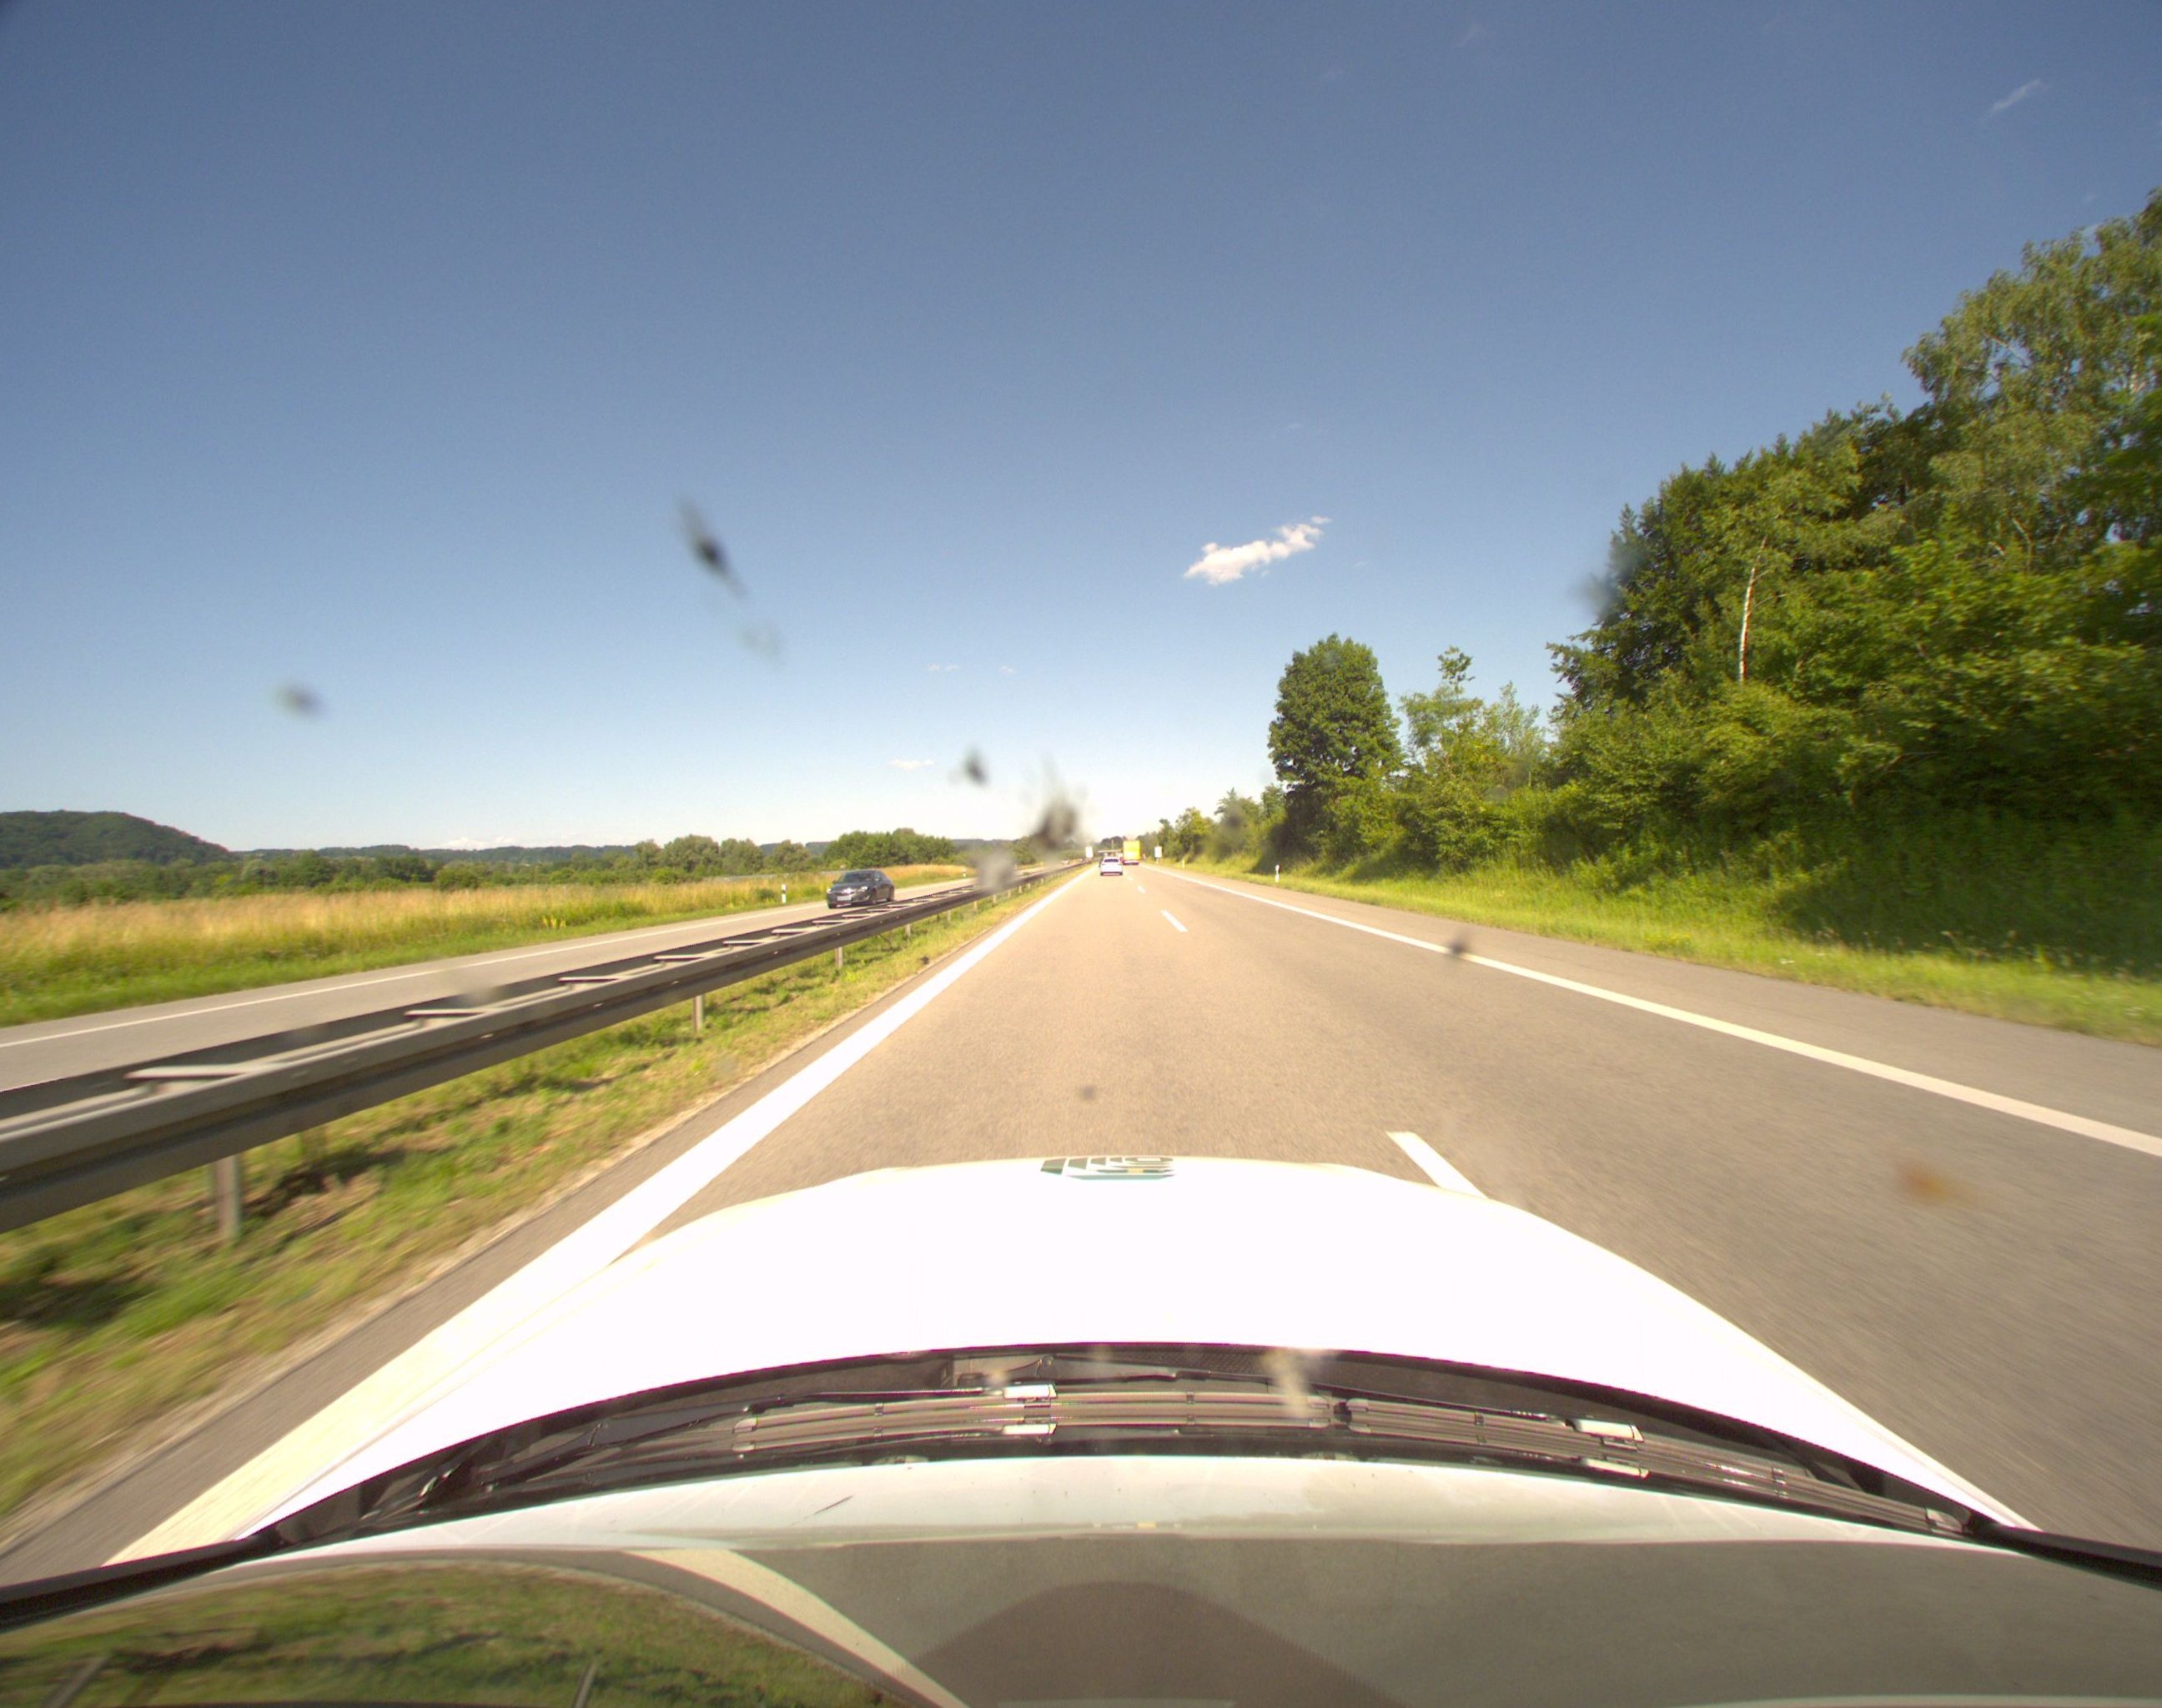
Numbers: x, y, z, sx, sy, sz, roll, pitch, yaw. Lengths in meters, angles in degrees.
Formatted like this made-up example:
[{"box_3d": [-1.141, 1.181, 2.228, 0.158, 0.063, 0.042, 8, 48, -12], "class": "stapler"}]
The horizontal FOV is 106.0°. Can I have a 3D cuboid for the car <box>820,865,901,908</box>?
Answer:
[{"box_3d": [-8.929, 1.257, 33.390, 1.763, 1.485, 4.915, -2, 0, 2], "class": "car"}]

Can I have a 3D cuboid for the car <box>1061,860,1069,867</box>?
[{"box_3d": [-4.140, 2.318, 209.890, 1.895, 1.683, 4.733, -3, -1, 2], "class": "car"}]

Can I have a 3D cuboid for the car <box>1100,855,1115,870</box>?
[{"box_3d": [3.763, 1.167, 115.083, 1.986, 2.014, 4.001, 0, -1, 2], "class": "car"}]

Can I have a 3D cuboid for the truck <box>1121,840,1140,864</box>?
[{"box_3d": [8.781, -0.363, 146.325, 3.157, 4.114, 6.390, 0, -1, 1], "class": "truck"}]

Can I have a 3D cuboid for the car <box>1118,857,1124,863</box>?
[{"box_3d": [12.392, 1.825, 250.714, 1.895, 1.683, 4.733, 1, 0, 2], "class": "car"}]

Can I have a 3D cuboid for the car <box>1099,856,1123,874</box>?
[{"box_3d": [2.396, 0.875, 64.942, 1.835, 1.415, 4.003, 0, -1, 3], "class": "car"}]

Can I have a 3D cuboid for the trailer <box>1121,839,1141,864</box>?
[{"box_3d": [8.543, -0.367, 139.794, 3.172, 4.059, 13.194, 0, 0, 3], "class": "trailer"}]
